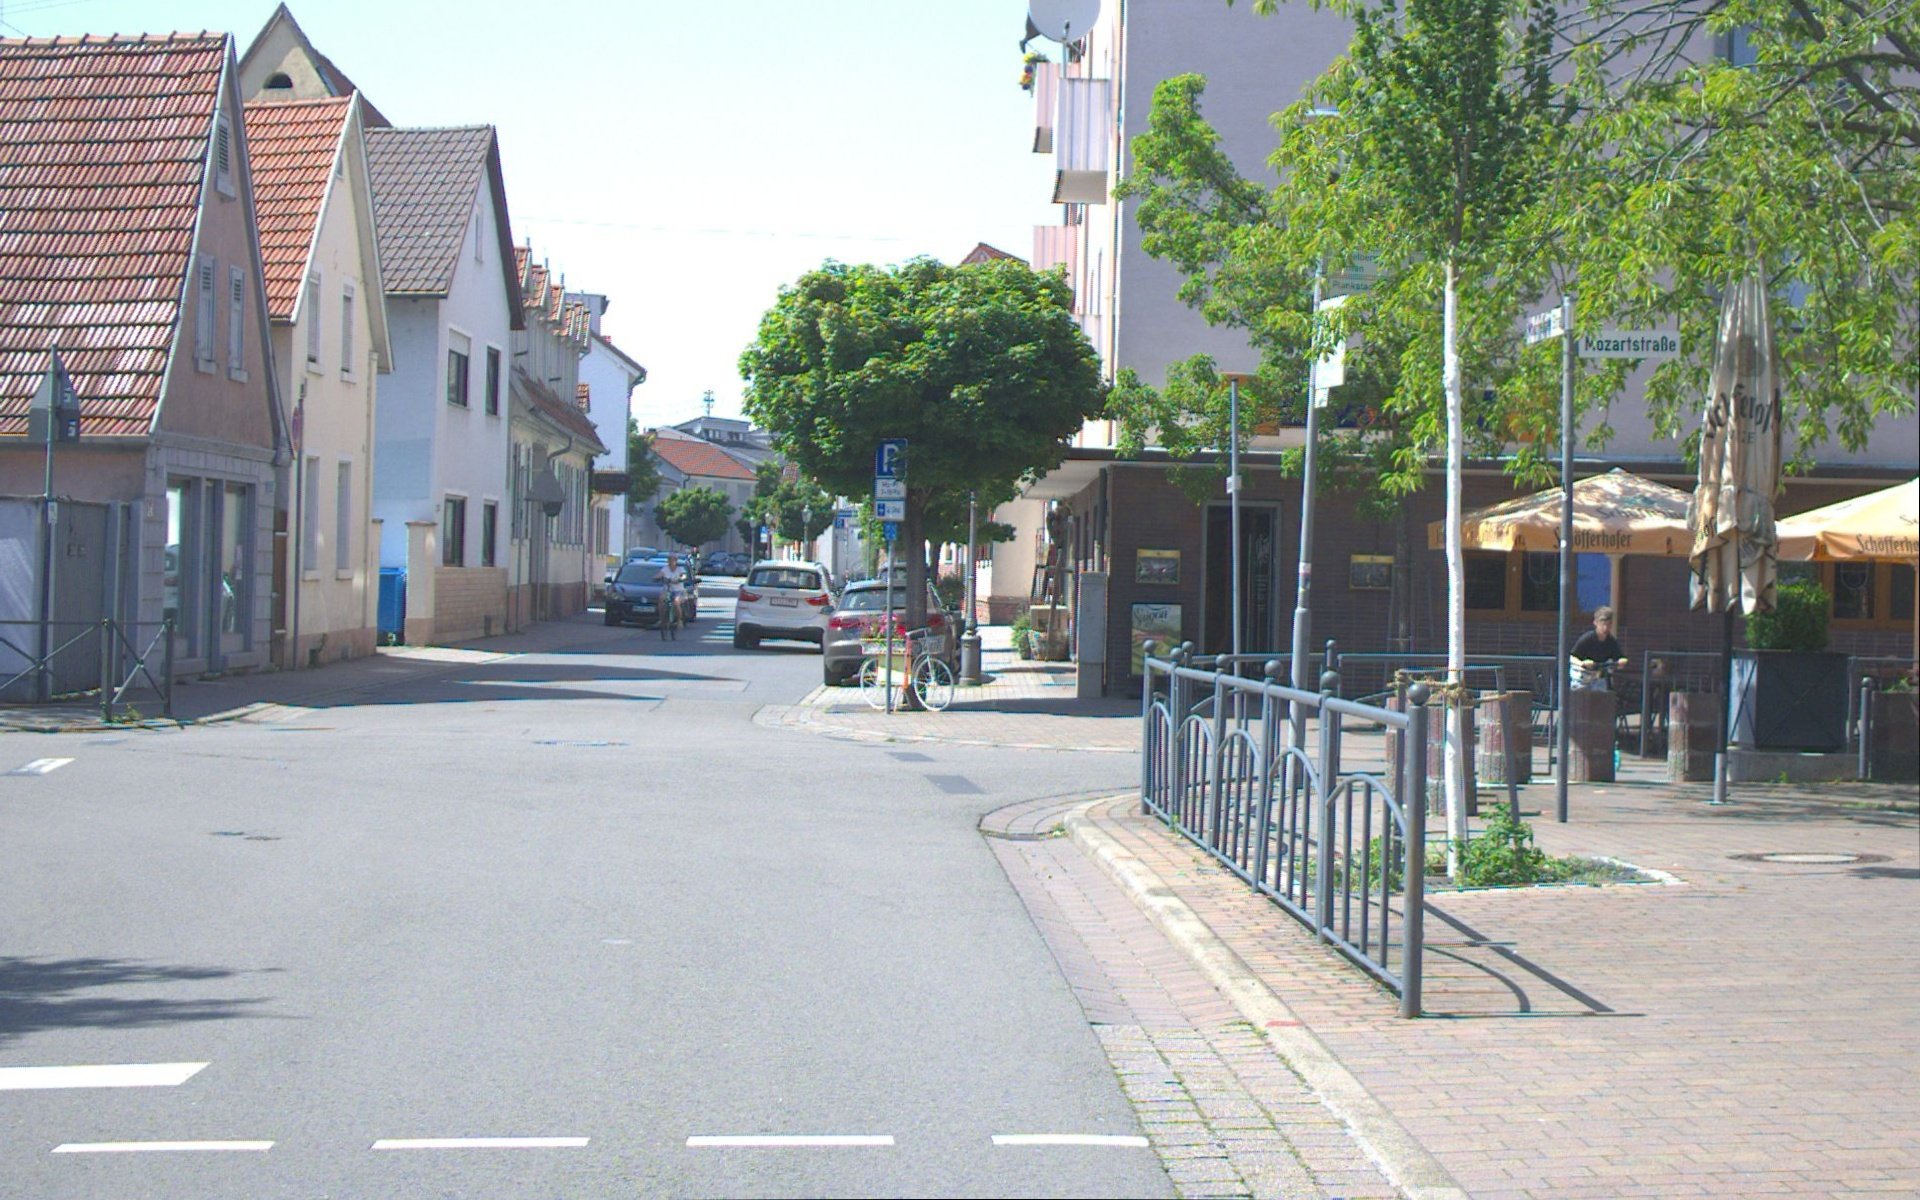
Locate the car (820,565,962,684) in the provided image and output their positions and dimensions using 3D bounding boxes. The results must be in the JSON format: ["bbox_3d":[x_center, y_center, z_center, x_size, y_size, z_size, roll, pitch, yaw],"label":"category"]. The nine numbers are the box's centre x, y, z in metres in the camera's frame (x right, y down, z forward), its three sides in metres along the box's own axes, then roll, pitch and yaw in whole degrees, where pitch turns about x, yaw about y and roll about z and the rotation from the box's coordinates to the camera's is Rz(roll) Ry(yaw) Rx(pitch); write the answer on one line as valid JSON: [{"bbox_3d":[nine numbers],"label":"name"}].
[{"bbox_3d":[-0.913,0.309,47.409,1.805,1.496,4.000,1,1,1],"label":"car"}]

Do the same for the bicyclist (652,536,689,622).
[{"bbox_3d":[-5.688,-0.416,67.631,0.669,1.685,0.761,0,0,-1],"label":"bicyclist"}]

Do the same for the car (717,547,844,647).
[{"bbox_3d":[-3.227,-0.088,62.459,1.834,1.646,4.000,3,1,3],"label":"car"}]

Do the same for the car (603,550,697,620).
[{"bbox_3d":[-7.014,-0.349,78.046,1.714,1.512,3.786,1,1,0],"label":"car"}]

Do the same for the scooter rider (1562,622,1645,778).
[{"bbox_3d":[5.412,0.837,28.910,0.516,1.281,0.418,1,0,-41],"label":"scooter rider"}]

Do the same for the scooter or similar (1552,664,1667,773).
[{"bbox_3d":[5.446,0.987,28.856,0.379,0.870,0.890,1,1,-41],"label":"scooter or similar"}]

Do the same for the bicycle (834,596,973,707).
[{"bbox_3d":[-0.642,0.573,38.637,0.525,1.189,1.674,1,1,-44],"label":"bicycle"}]

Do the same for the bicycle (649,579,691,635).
[{"bbox_3d":[-5.698,0.129,67.595,0.674,1.090,1.896,0,1,-1],"label":"bicycle"}]
